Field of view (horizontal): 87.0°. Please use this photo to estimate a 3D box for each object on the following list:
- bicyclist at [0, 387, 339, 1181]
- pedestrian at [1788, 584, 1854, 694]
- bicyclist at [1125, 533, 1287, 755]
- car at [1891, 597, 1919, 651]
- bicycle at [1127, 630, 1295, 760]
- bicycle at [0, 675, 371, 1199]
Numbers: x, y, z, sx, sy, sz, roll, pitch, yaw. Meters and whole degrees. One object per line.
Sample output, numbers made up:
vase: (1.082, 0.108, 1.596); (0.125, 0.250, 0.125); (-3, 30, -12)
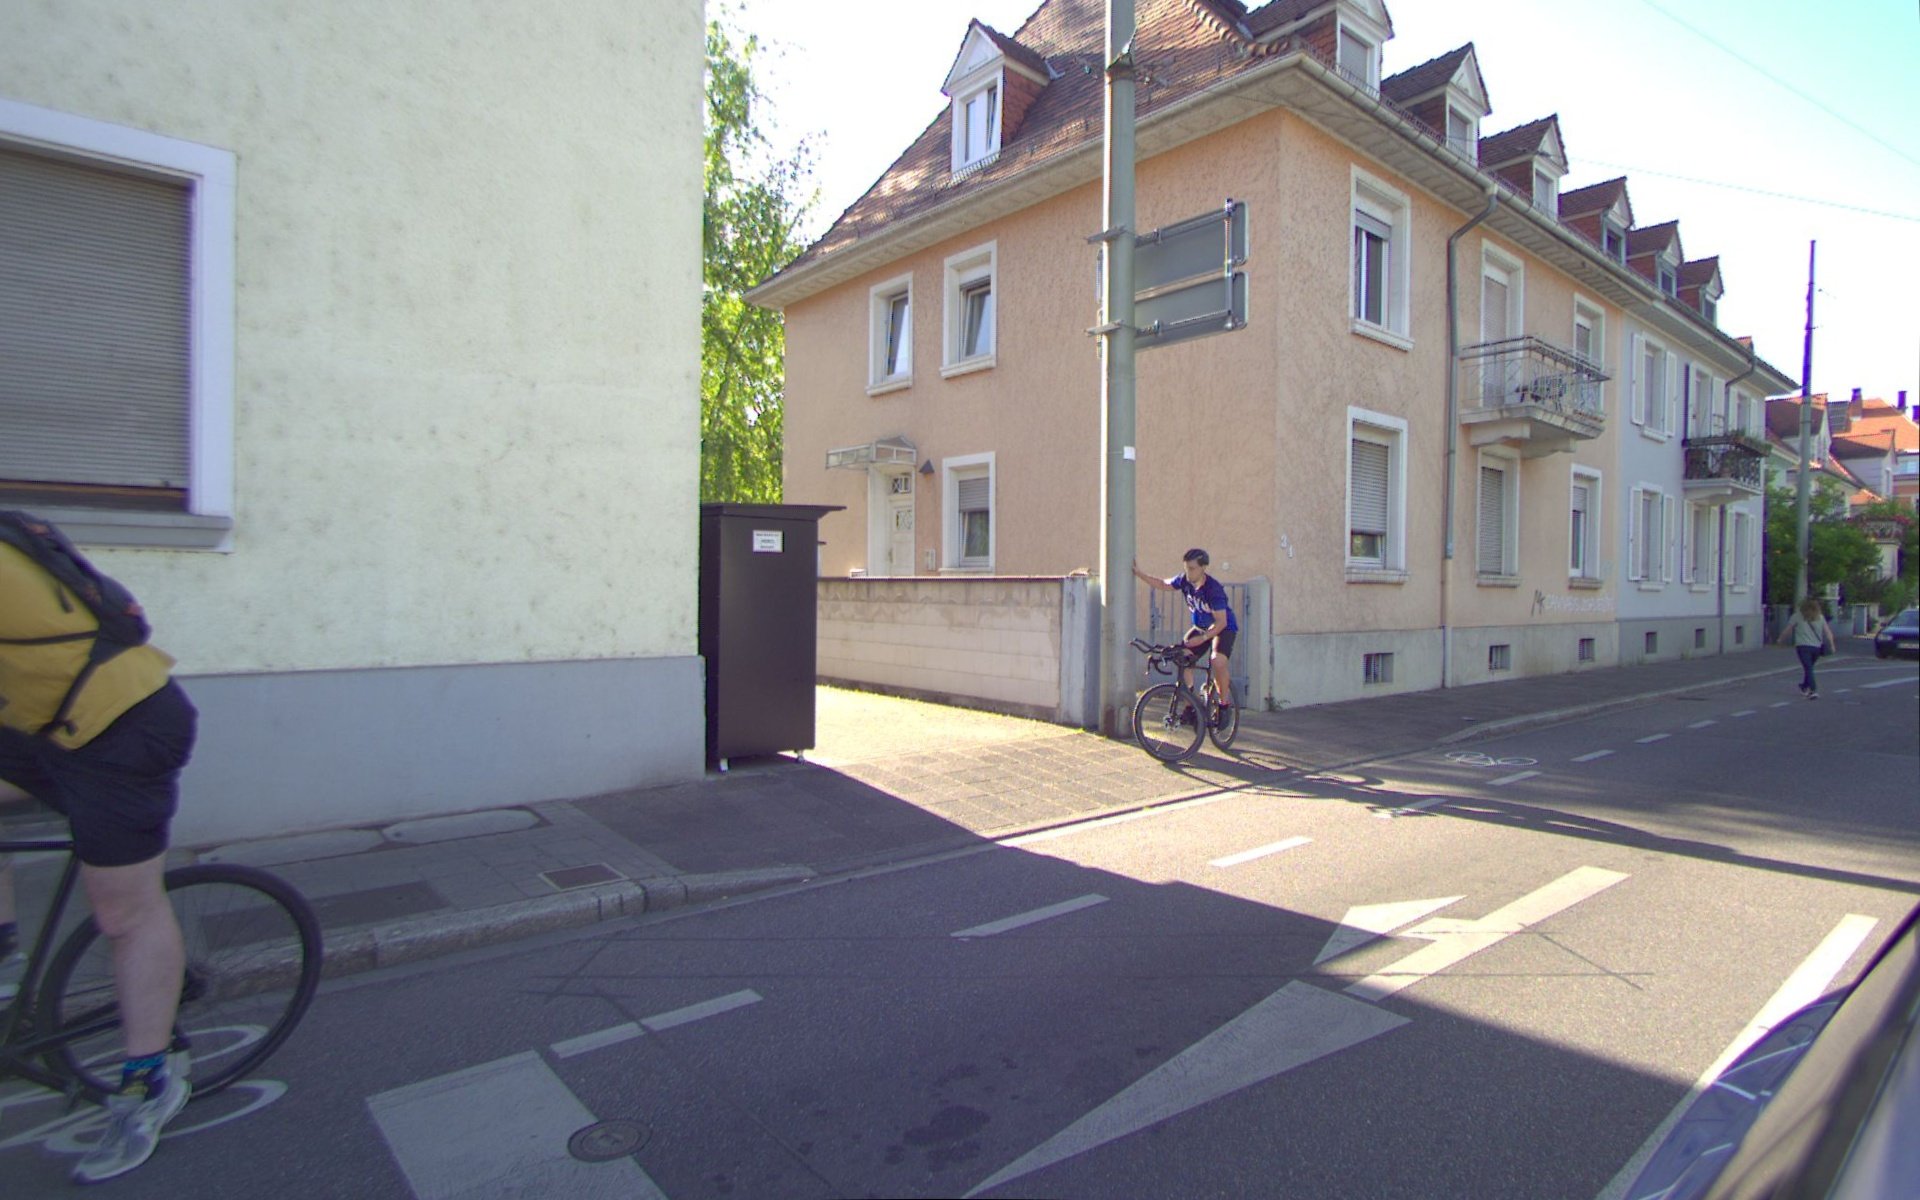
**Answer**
bicyclist: (-2.308, 0.421, 2.697); (1.018, 1.840, 0.653); (0, 1, -41)
pedestrian: (13.657, 0.588, 16.041); (1.080, 1.682, 0.693); (0, 0, -44)
bicyclist: (2.276, 0.360, 9.432); (0.831, 1.887, 1.076); (0, 4, -40)
car: (26.690, 0.630, 27.342); (3.796, 1.382, 1.648); (0, 1, -38)
bicycle: (2.309, 0.817, 9.207); (1.669, 1.003, 0.572); (0, 4, -41)
bicycle: (-2.484, 0.843, 2.533); (1.669, 1.180, 0.572); (0, 1, -41)
